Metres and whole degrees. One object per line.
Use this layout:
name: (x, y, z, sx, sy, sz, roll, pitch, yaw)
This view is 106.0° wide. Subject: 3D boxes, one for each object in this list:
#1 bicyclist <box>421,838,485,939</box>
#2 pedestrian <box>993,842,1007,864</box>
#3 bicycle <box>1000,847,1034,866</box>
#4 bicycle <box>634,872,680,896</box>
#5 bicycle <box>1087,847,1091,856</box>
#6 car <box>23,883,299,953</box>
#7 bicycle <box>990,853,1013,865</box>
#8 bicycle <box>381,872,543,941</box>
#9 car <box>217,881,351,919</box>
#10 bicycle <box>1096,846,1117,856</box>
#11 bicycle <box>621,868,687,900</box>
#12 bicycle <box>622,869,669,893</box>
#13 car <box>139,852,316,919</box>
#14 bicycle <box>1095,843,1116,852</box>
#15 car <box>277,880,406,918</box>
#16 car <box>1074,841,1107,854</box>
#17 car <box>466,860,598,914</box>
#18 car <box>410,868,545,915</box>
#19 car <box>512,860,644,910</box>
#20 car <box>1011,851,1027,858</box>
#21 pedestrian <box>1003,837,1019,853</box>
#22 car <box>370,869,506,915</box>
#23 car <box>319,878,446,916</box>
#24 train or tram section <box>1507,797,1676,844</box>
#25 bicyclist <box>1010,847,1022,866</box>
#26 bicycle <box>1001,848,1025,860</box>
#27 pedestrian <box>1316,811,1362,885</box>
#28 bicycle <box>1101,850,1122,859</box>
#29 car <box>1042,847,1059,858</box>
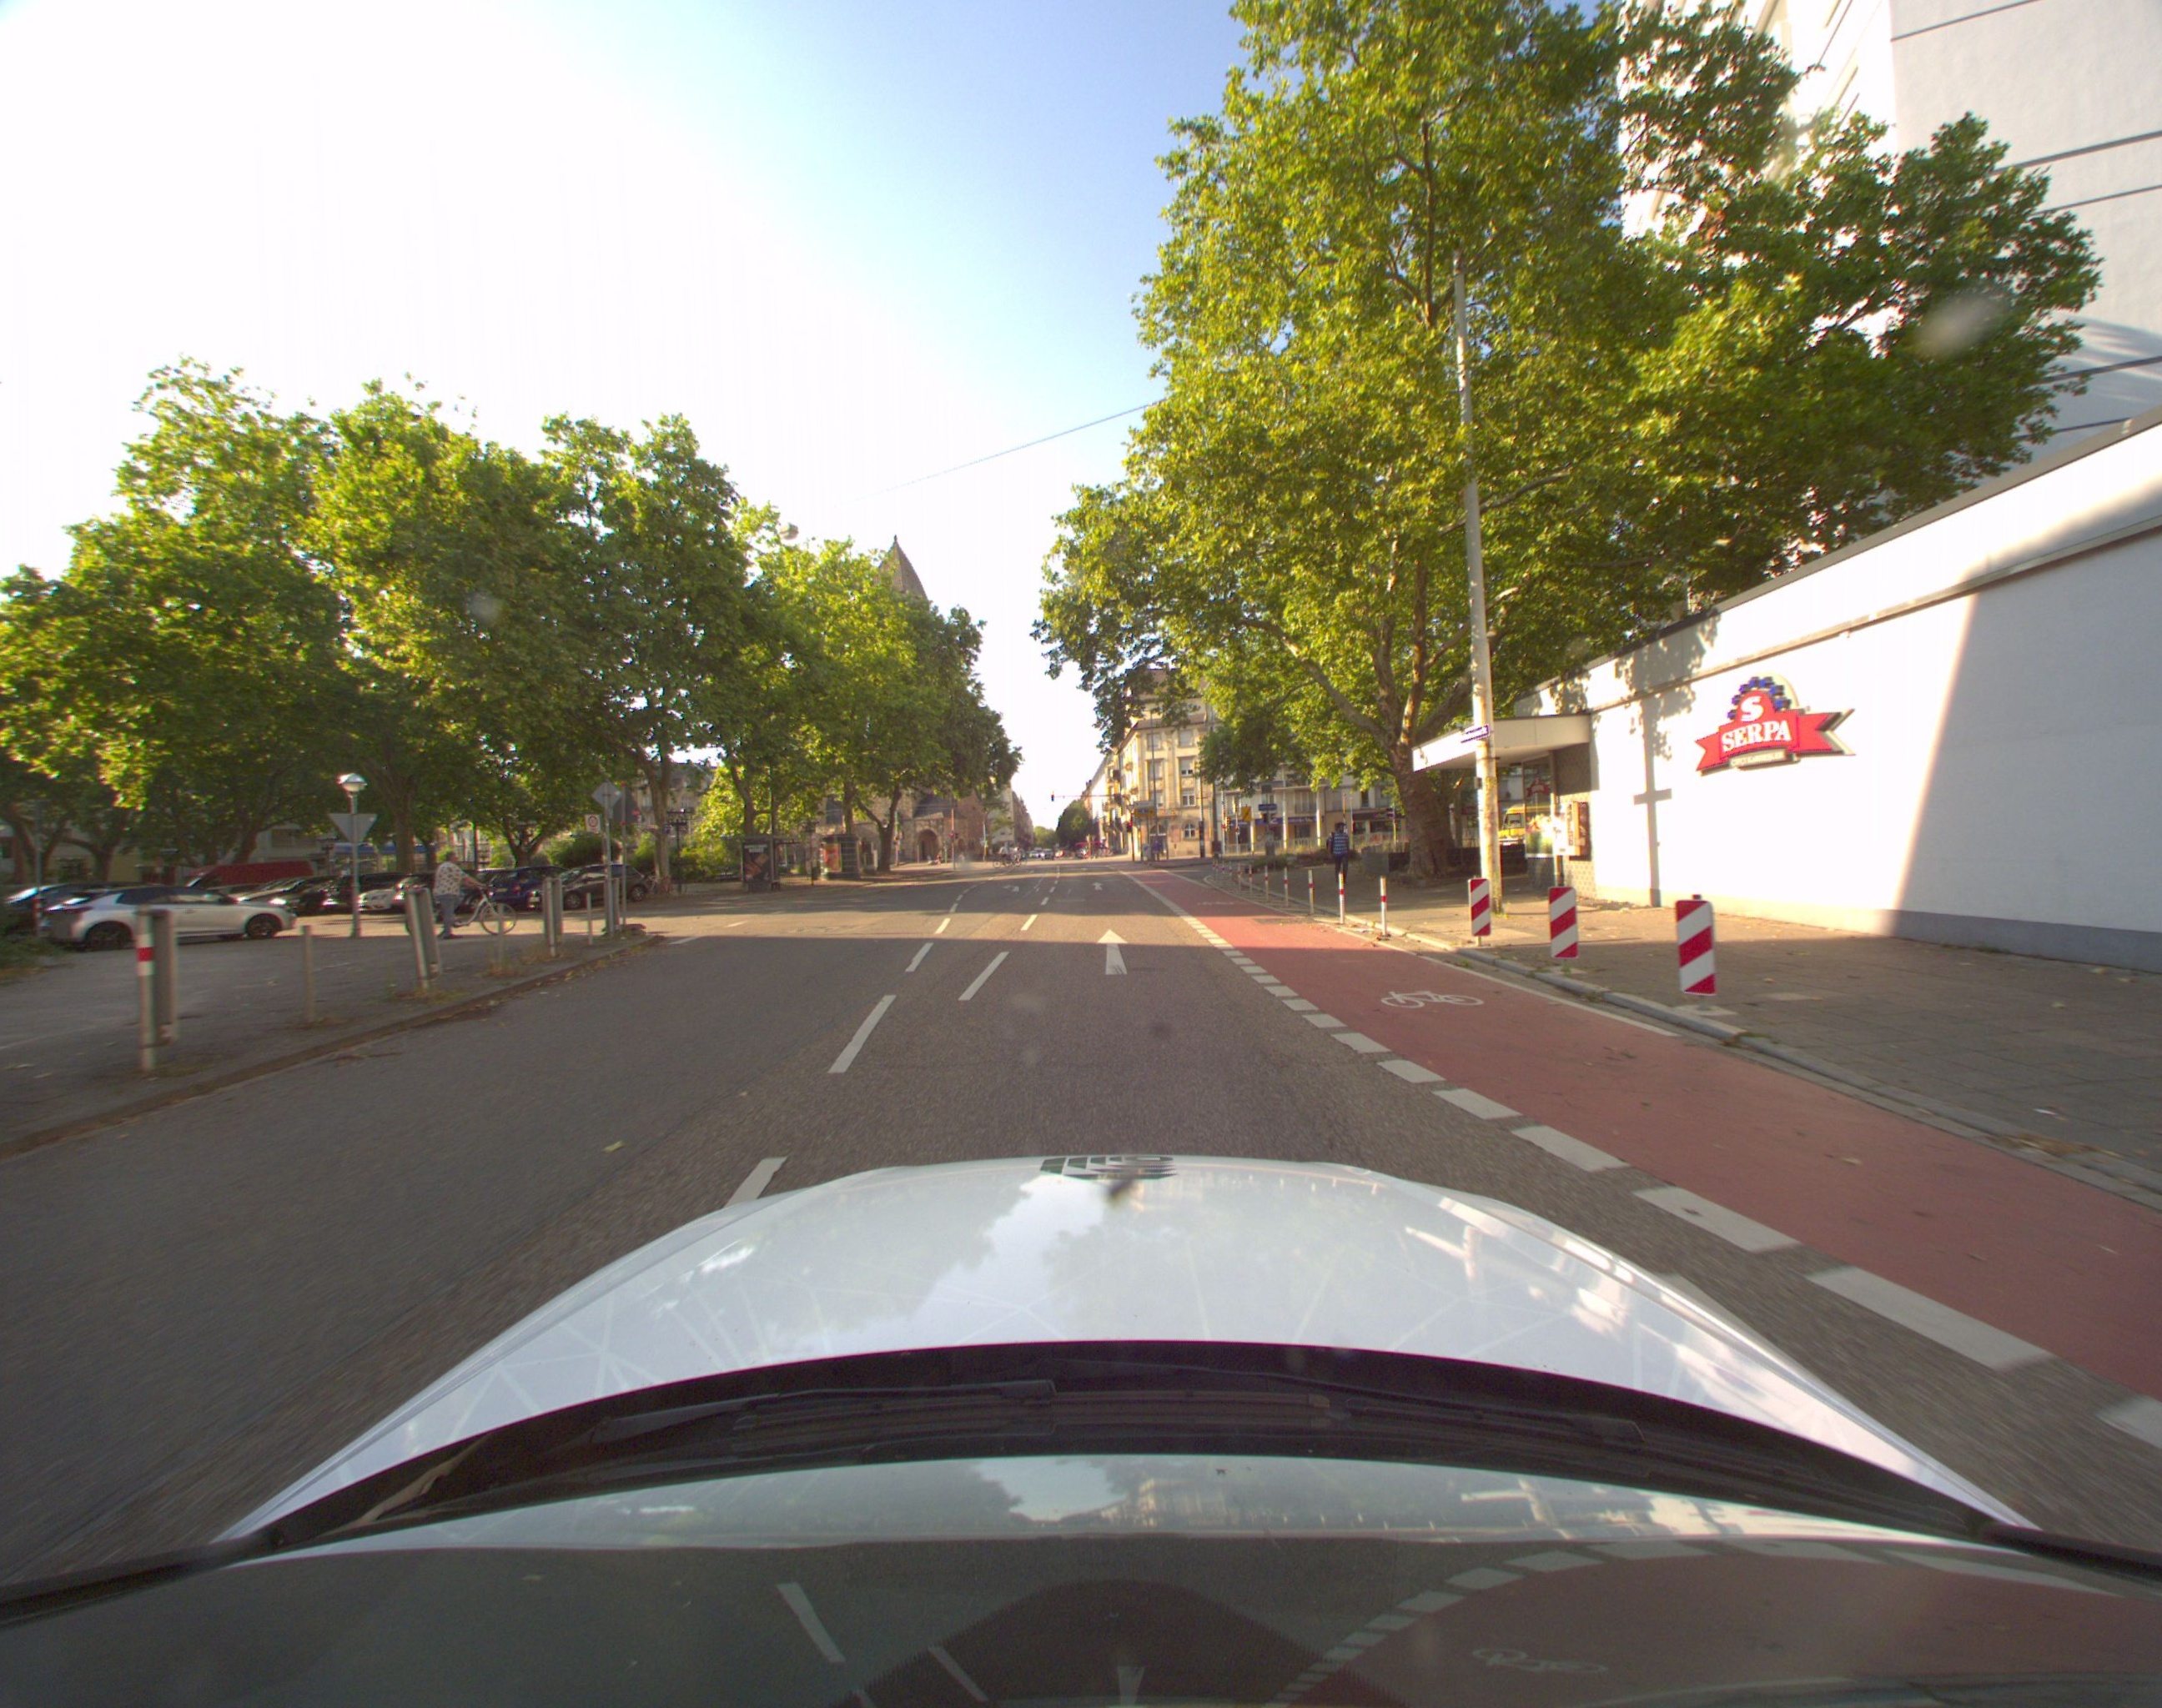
bicyclist: (-12.929, 0.684, 16.776, 0.964, 2.014, 0.802, -1, -1, 37)
pedestrian: (-6.547, -0.069, 65.880, 0.983, 1.708, 0.631, 0, -1, 16)
bicycle: (-5.619, 0.185, 71.722, 2.824, 1.656, 0.833, 0, -1, 10)
bicycle: (-18.186, 1.274, 34.993, 0.546, 0.992, 2.222, 0, 0, 9)
bicycle: (1.065, -0.387, 110.915, 0.506, 1.203, 2.091, 0, 0, 1)
car: (-21.781, 1.466, 19.503, 1.635, 1.336, 4.058, -3, -2, 23)
bicycle: (-6.438, 0.434, 65.866, 1.770, 0.982, 0.659, 0, -1, 15)
bicycle: (-12.815, 1.038, 16.942, 0.998, 1.264, 2.499, -1, -1, 36)
car: (-32.108, 1.829, 32.955, 1.643, 1.336, 3.700, 0, 0, 3)
bicycle: (3.385, -0.406, 109.257, 2.798, 1.203, 0.516, 0, -1, -5)
bicycle: (-16.378, 1.132, 31.387, 0.715, 1.145, 3.293, 0, 0, 2)
bicycle: (-18.757, 1.140, 35.114, 0.546, 0.992, 2.222, 0, 0, 9)
car: (-40.688, 1.436, 39.038, 1.635, 2.910, 5.594, -3, -2, 23)
bicycle: (3.279, -0.814, 109.963, 2.798, 1.203, 0.509, 0, -1, -5)
car: (-29.566, 1.758, 32.716, 1.643, 1.336, 3.700, 0, 0, 3)
car: (1.522, -0.952, 128.009, 5.026, 2.014, 2.143, 0, -1, -37)
car: (-20.528, 1.191, 30.680, 1.864, 1.617, 4.008, -2, 3, 6)
car: (-22.717, 1.360, 30.884, 1.864, 1.618, 4.007, 0, 0, 6)
car: (-17.901, 1.061, 29.189, 1.735, 1.517, 3.668, -2, 1, 20)
car: (-10.891, 0.040, 143.173, 1.581, 1.144, 3.399, 0, 0, 17)
pedestrian: (-5.781, -0.724, 67.318, 1.039, 1.278, 0.796, -1, -1, 24)
car: (-24.941, 1.441, 31.782, 1.864, 1.618, 4.007, 0, 0, 6)
car: (-27.311, 1.654, 32.006, 1.643, 1.336, 3.700, 0, 0, 3)
train or tram section: (42.860, -2.724, 69.012, 11.686, 3.640, 3.436, 0, -1, 23)
bicyclist: (-5.712, 0.186, 71.755, 0.797, 1.656, 0.937, 0, -1, 10)
bicycle: (-5.611, 0.026, 67.278, 1.765, 0.895, 0.755, -2, 1, 24)
pedestrian: (7.463, -0.160, 23.639, 0.824, 2.013, 1.153, -5, -1, 1)
bicycle: (4.073, 0.023, 108.052, 2.798, 1.203, 0.509, 0, -1, -5)
car: (-4.400, -0.207, 116.992, 1.575, 1.462, 3.196, 0, 0, 16)
